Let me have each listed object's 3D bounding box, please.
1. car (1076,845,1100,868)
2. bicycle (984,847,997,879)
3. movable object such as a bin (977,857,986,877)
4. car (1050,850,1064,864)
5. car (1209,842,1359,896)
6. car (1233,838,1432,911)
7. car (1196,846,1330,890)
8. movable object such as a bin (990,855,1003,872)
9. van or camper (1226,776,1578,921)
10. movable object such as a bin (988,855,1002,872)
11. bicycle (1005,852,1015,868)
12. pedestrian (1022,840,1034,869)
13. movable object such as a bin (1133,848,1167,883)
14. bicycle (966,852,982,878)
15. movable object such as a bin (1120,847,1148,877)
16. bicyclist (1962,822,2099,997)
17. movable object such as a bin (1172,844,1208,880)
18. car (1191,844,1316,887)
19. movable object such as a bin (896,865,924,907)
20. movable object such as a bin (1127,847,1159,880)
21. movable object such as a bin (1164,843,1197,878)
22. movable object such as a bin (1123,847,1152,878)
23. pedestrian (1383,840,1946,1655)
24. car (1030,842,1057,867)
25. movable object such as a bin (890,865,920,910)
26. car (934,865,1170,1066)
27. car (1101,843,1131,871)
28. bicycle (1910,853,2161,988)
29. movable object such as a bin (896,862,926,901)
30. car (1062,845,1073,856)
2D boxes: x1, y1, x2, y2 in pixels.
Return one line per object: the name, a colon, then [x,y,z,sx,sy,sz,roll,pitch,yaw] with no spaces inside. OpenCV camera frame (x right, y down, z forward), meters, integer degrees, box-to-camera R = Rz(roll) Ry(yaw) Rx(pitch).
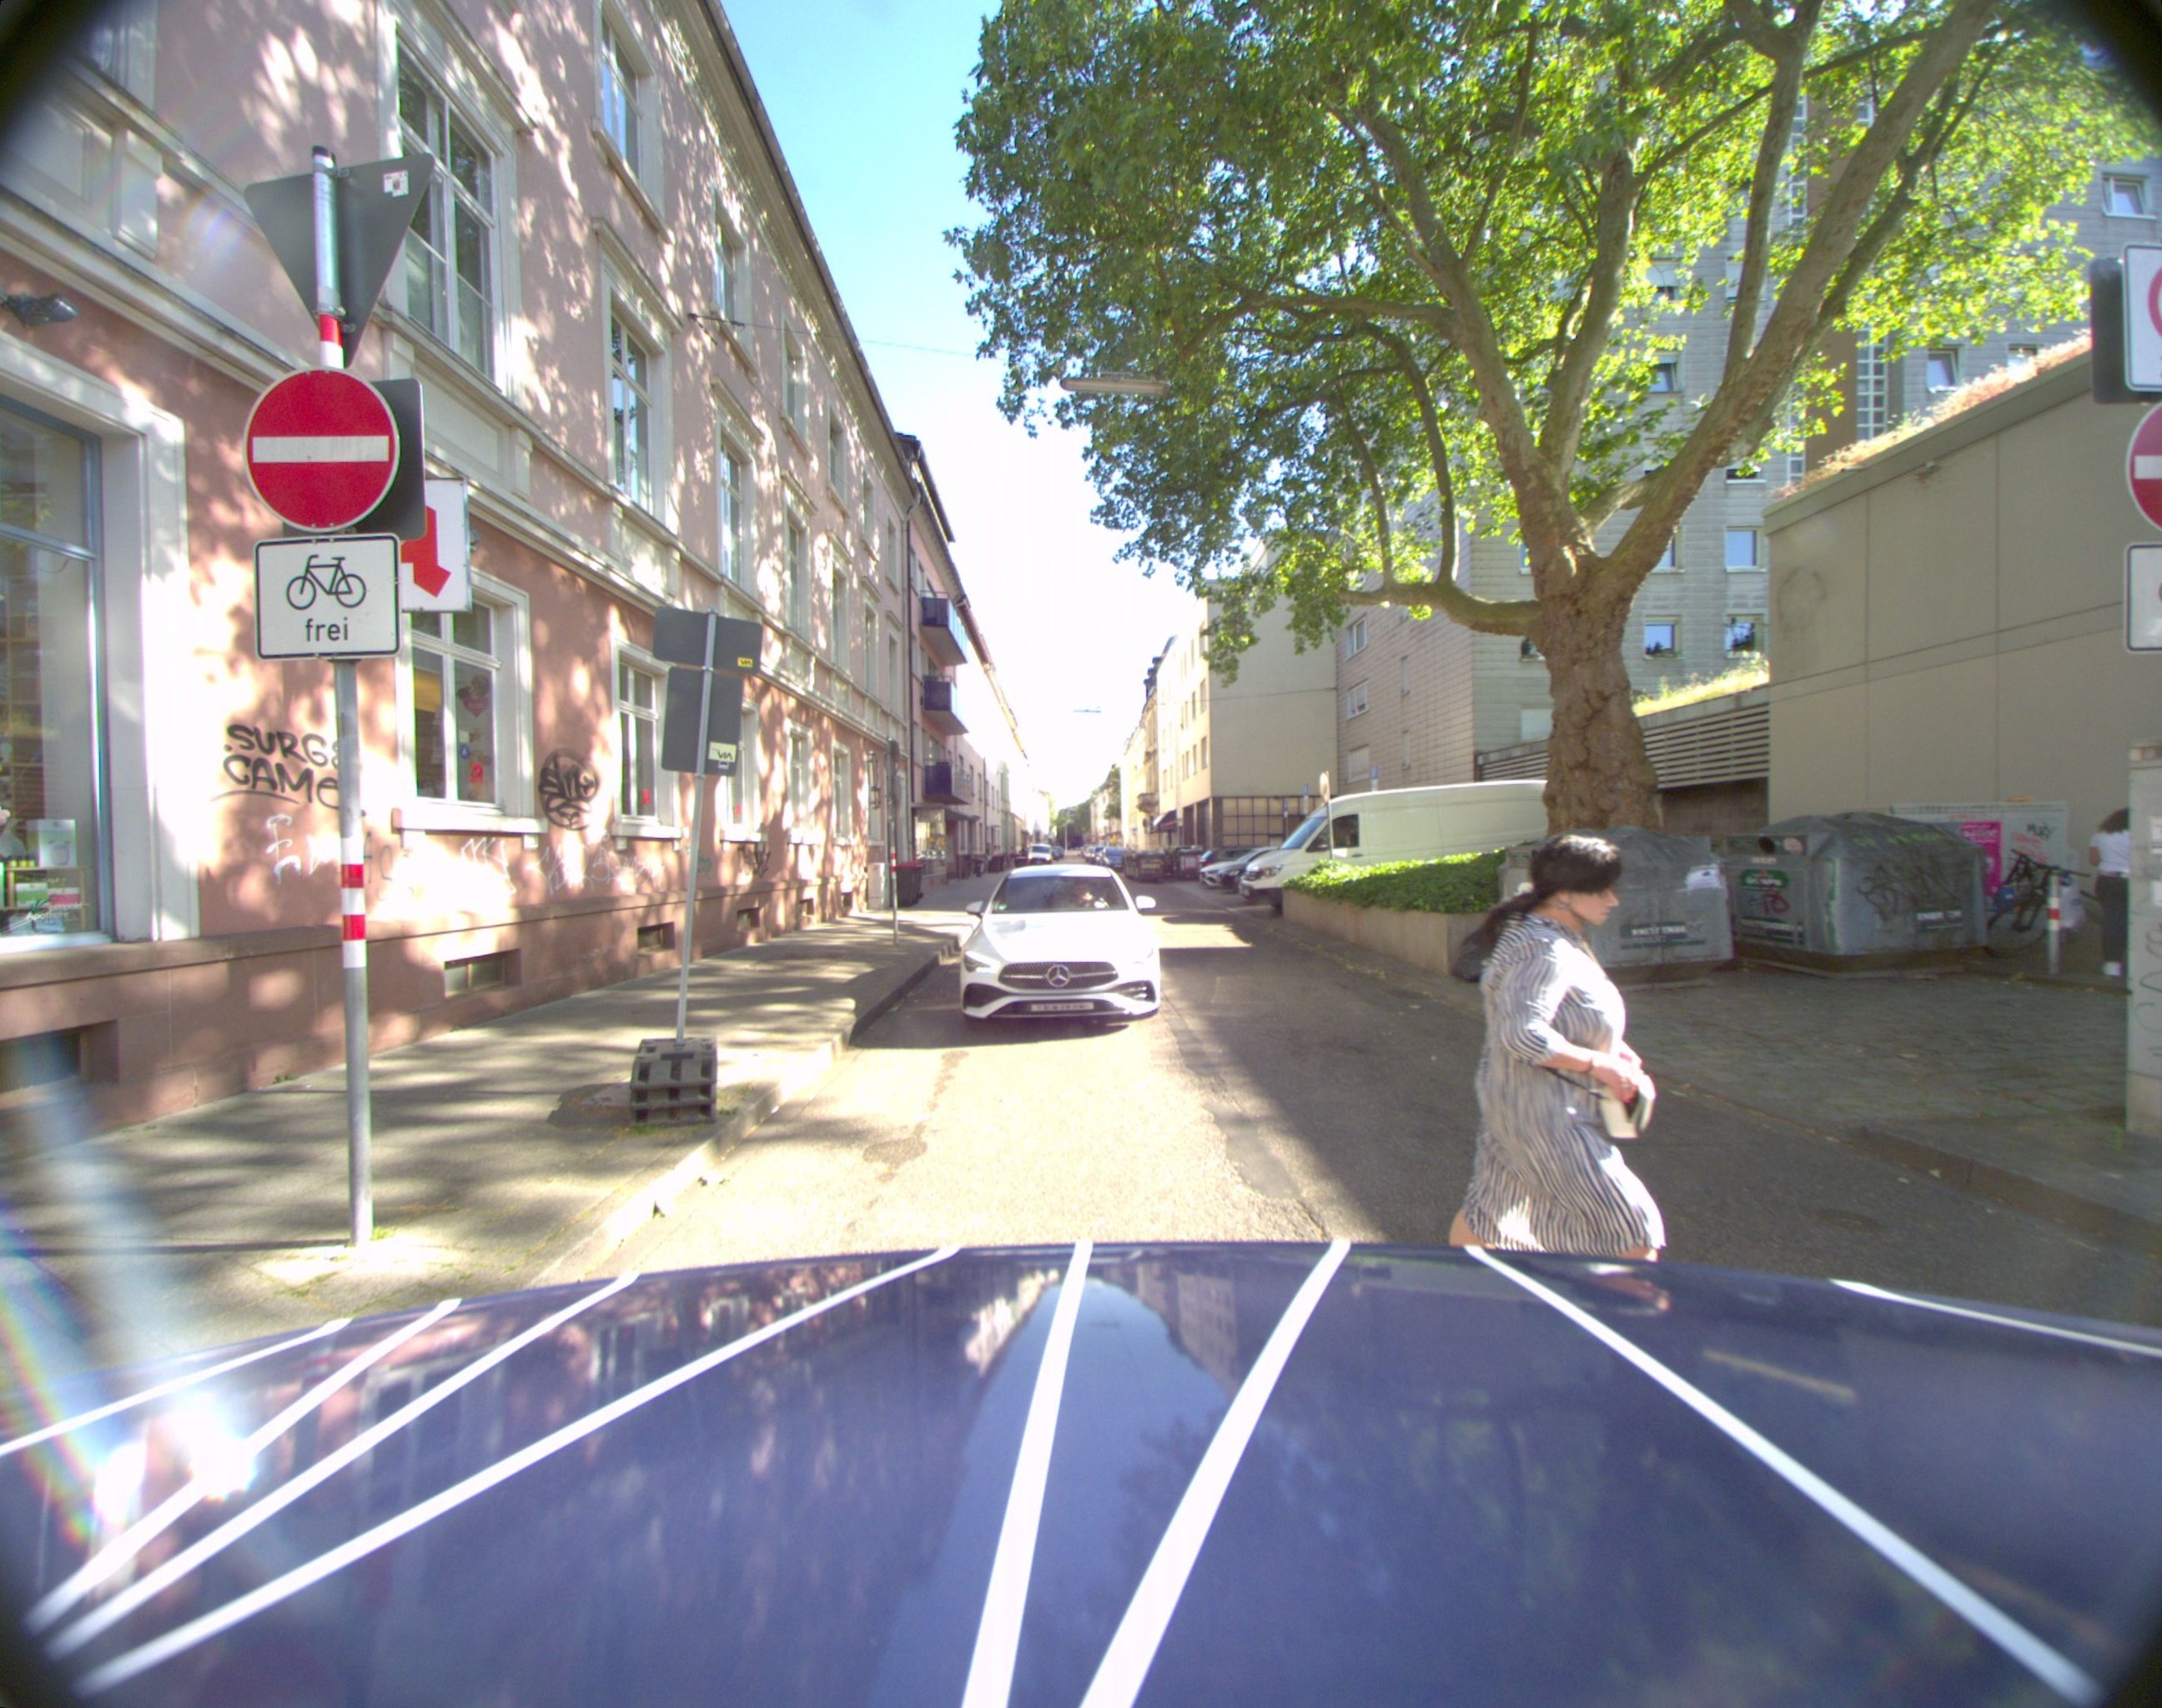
car: [0.528,0.153,60.251,1.765,1.698,4.327,-1,1,0]
bicycle: [-5.137,0.494,43.159,0.402,1.726,2.106,-1,1,0]
movable object such as a bin: [-4.968,0.650,37.987,0.416,0.935,0.302,2,1,-2]
car: [-3.078,0.362,97.549,1.765,1.698,4.327,-1,1,-1]
car: [6.565,0.453,24.799,4.417,1.607,1.698,-1,1,-7]
car: [6.295,0.487,19.295,4.415,1.525,1.698,-3,1,-1]
car: [6.507,0.478,27.386,4.417,1.454,1.599,-1,1,-7]
movable object such as a bin: [-5.068,0.568,45.623,0.717,0.996,0.546,2,1,-2]
van or camper: [6.989,-0.118,17.072,6.923,2.559,2.000,-4,1,0]
movable object such as a bin: [-5.098,0.556,45.003,0.717,0.996,0.546,2,1,-2]
bicycle: [-4.917,0.432,53.012,0.490,1.090,1.932,-1,1,0]
pedestrian: [-3.742,0.022,53.467,0.761,2.002,0.771,-1,1,0]
movable object such as a bin: [3.015,0.472,33.622,1.241,1.492,1.876,-1,1,-3]
bicycle: [-4.969,0.508,35.403,0.402,1.144,2.024,-1,1,0]
movable object such as a bin: [2.729,0.385,39.342,1.222,1.492,1.559,-1,1,-3]
bicyclist: [9.073,0.497,7.276,0.534,1.575,0.704,-2,1,-23]
movable object such as a bin: [4.736,0.328,33.089,1.328,1.492,1.194,-1,1,-3]
car: [6.675,0.442,29.619,4.417,1.524,1.698,-1,1,-7]
movable object such as a bin: [-4.412,0.823,19.610,0.570,1.052,0.611,2,1,-2]
movable object such as a bin: [2.898,0.422,35.972,1.247,1.492,1.924,-1,1,-3]
movable object such as a bin: [4.513,0.278,34.526,1.222,1.492,1.517,-1,1,-3]
movable object such as a bin: [2.795,0.410,37.736,1.222,1.492,1.559,-1,1,-3]
pedestrian: [1.342,0.780,2.018,0.844,1.564,0.847,5,2,19]
car: [-2.888,0.001,59.214,1.765,1.843,4.326,-1,2,0]
movable object such as a bin: [-4.390,0.821,18.992,0.570,1.078,0.654,2,1,-2]
car: [-0.233,0.944,8.480,1.862,1.448,4.562,-3,1,0]
car: [2.261,0.177,49.592,1.765,1.698,4.327,-1,1,0]
bicycle: [9.435,0.592,7.388,0.806,1.146,1.714,-4,1,-32]
movable object such as a bin: [-4.825,0.779,21.603,0.718,1.078,0.618,2,1,-2]
car: [-2.223,-0.593,122.842,1.765,1.698,4.327,-1,1,-1]
